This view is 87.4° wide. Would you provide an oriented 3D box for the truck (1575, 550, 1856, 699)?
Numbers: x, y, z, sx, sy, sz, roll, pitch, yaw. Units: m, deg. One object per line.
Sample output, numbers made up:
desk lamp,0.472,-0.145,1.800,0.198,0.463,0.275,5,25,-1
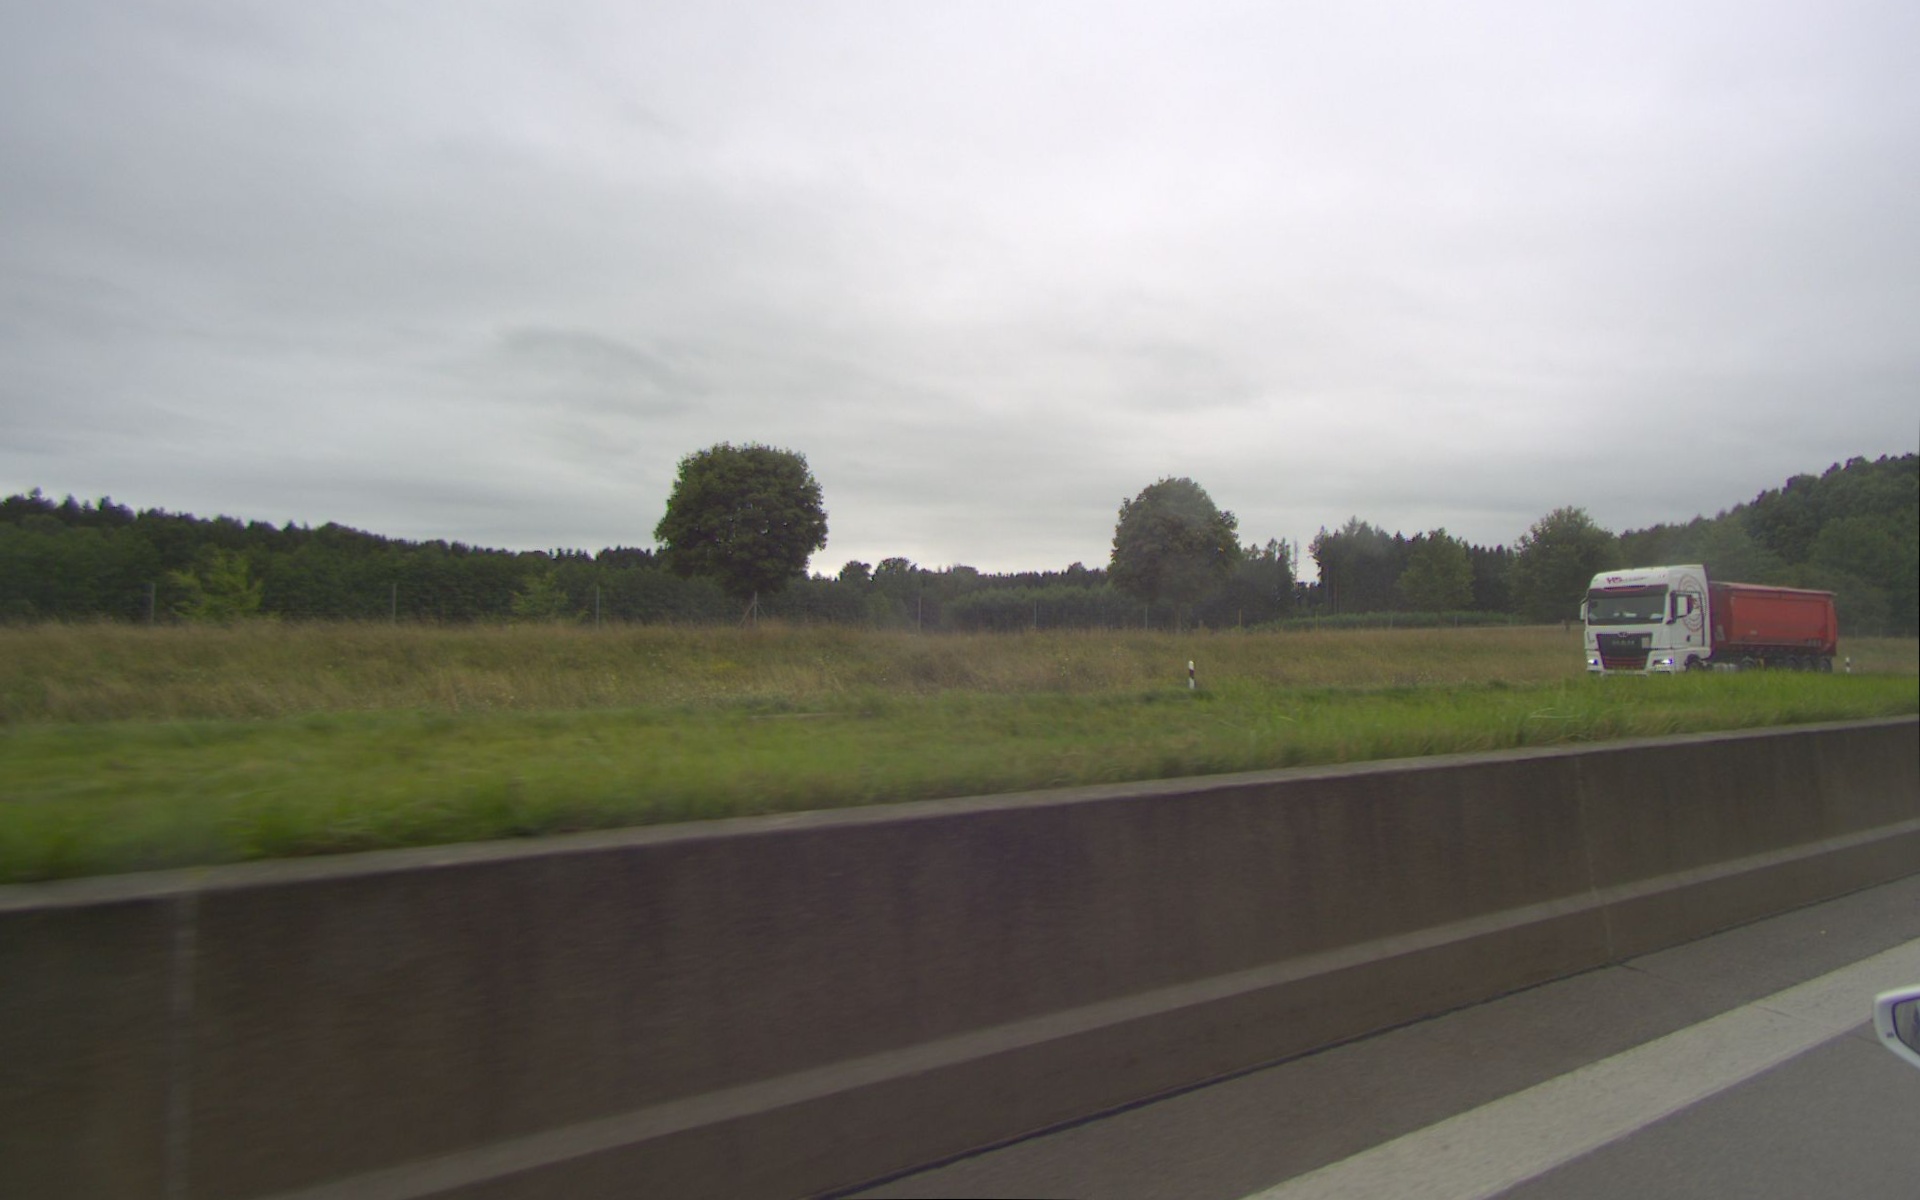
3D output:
truck,25.340,1.067,33.292,12.953,4.261,2.741,3,-3,-31
